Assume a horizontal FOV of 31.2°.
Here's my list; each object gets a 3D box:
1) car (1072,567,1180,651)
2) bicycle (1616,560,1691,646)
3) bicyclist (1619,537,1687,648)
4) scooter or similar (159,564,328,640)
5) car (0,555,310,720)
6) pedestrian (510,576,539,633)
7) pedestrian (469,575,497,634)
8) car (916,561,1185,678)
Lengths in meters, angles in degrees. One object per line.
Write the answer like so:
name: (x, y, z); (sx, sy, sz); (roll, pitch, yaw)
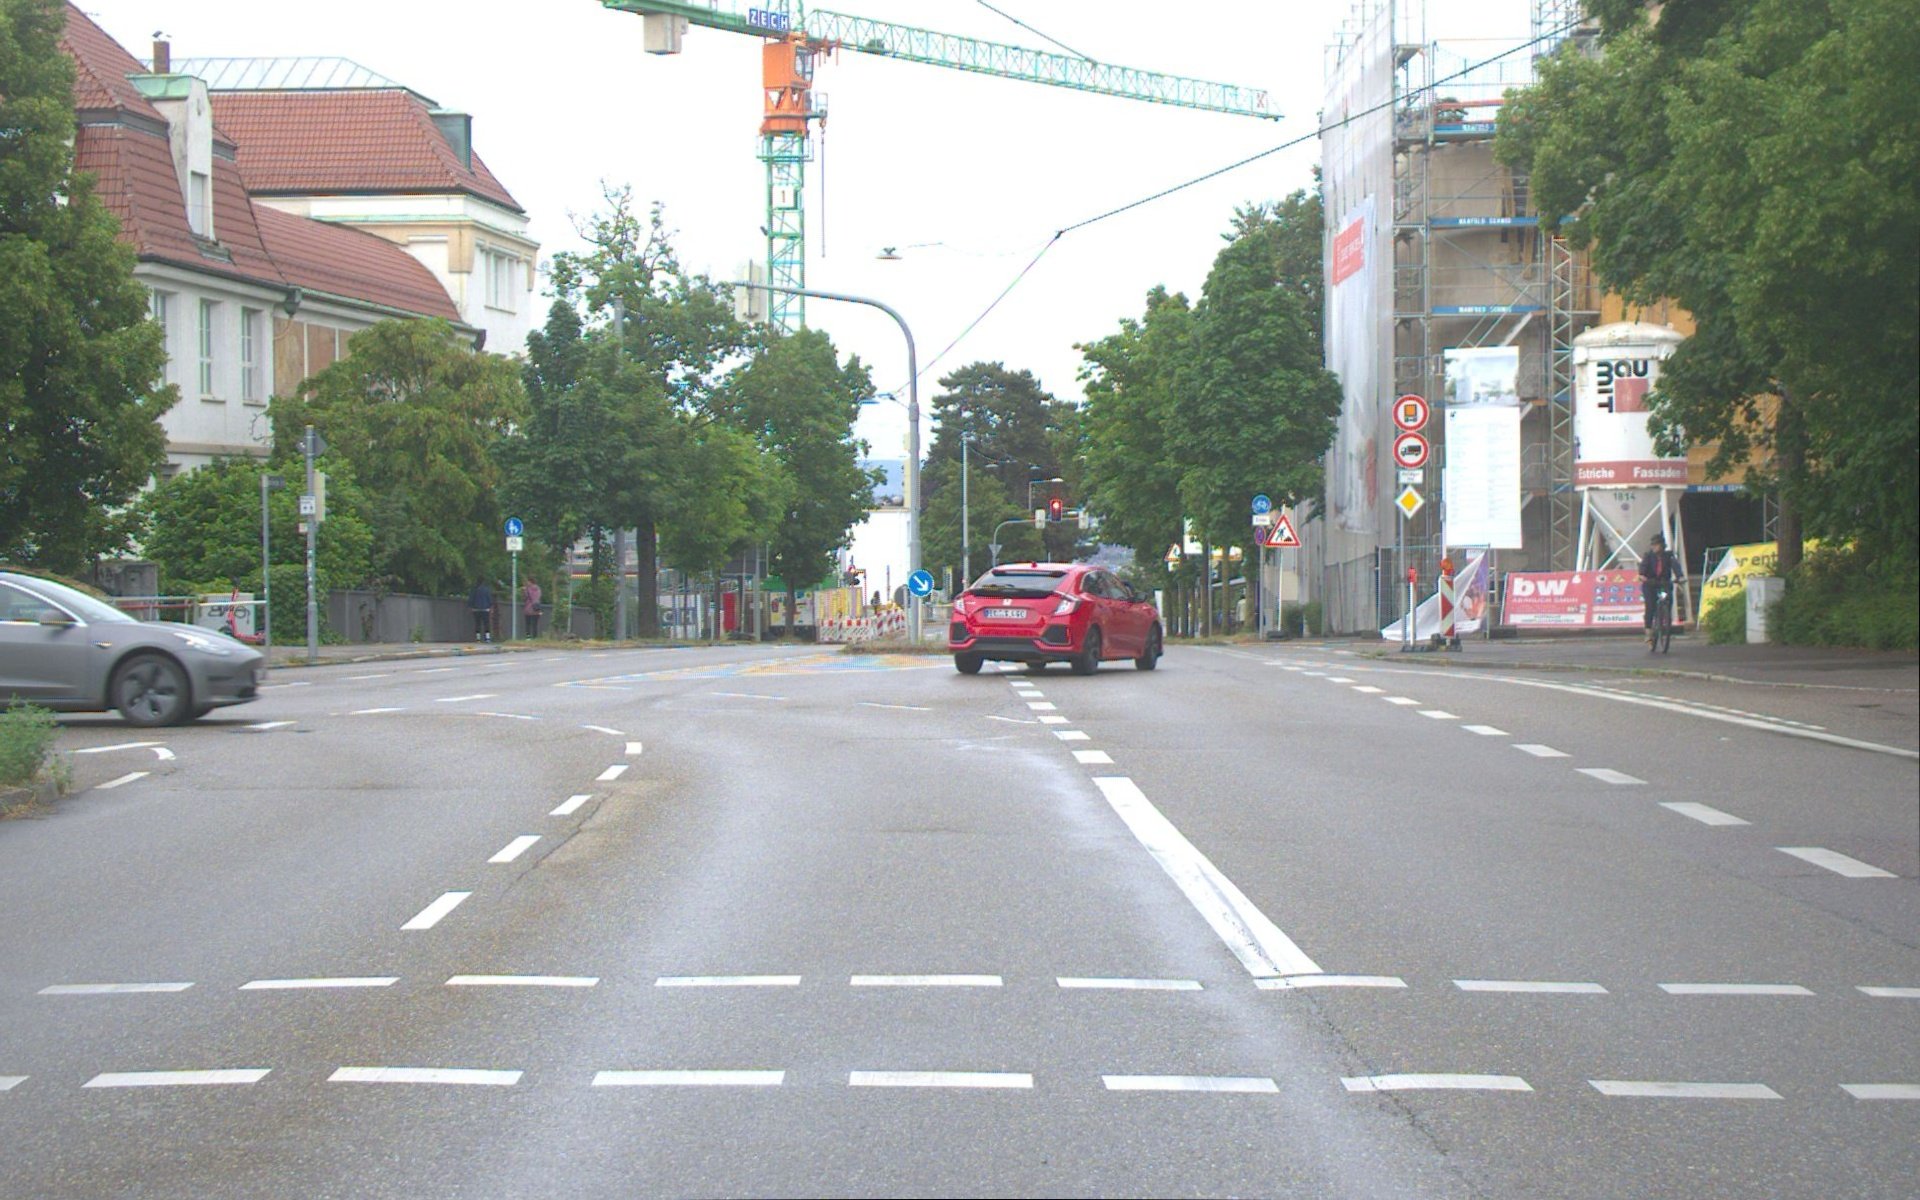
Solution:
car: (3.533, 0.210, 73.866); (1.993, 1.700, 4.000); (1, -1, -1)
bicycle: (9.927, 0.058, 49.270); (0.720, 1.189, 1.756); (1, -1, 1)
bicyclist: (9.934, -0.098, 49.286); (0.720, 1.558, 1.143); (1, -1, 1)
scooter or similar: (-13.976, 0.038, 67.109); (3.087, 1.435, 0.949); (-1, 1, -2)
car: (-8.381, 0.309, 30.917); (4.769, 1.420, 2.000); (0, 1, -3)
pedestrian: (-10.812, 0.110, 85.339); (0.637, 1.381, 0.606); (1, -1, -2)
pedestrian: (-11.698, 0.115, 84.261); (0.587, 1.424, 0.467); (1, -1, 0)
car: (1.245, 0.211, 44.620); (1.996, 1.420, 4.514); (1, 1, 23)
